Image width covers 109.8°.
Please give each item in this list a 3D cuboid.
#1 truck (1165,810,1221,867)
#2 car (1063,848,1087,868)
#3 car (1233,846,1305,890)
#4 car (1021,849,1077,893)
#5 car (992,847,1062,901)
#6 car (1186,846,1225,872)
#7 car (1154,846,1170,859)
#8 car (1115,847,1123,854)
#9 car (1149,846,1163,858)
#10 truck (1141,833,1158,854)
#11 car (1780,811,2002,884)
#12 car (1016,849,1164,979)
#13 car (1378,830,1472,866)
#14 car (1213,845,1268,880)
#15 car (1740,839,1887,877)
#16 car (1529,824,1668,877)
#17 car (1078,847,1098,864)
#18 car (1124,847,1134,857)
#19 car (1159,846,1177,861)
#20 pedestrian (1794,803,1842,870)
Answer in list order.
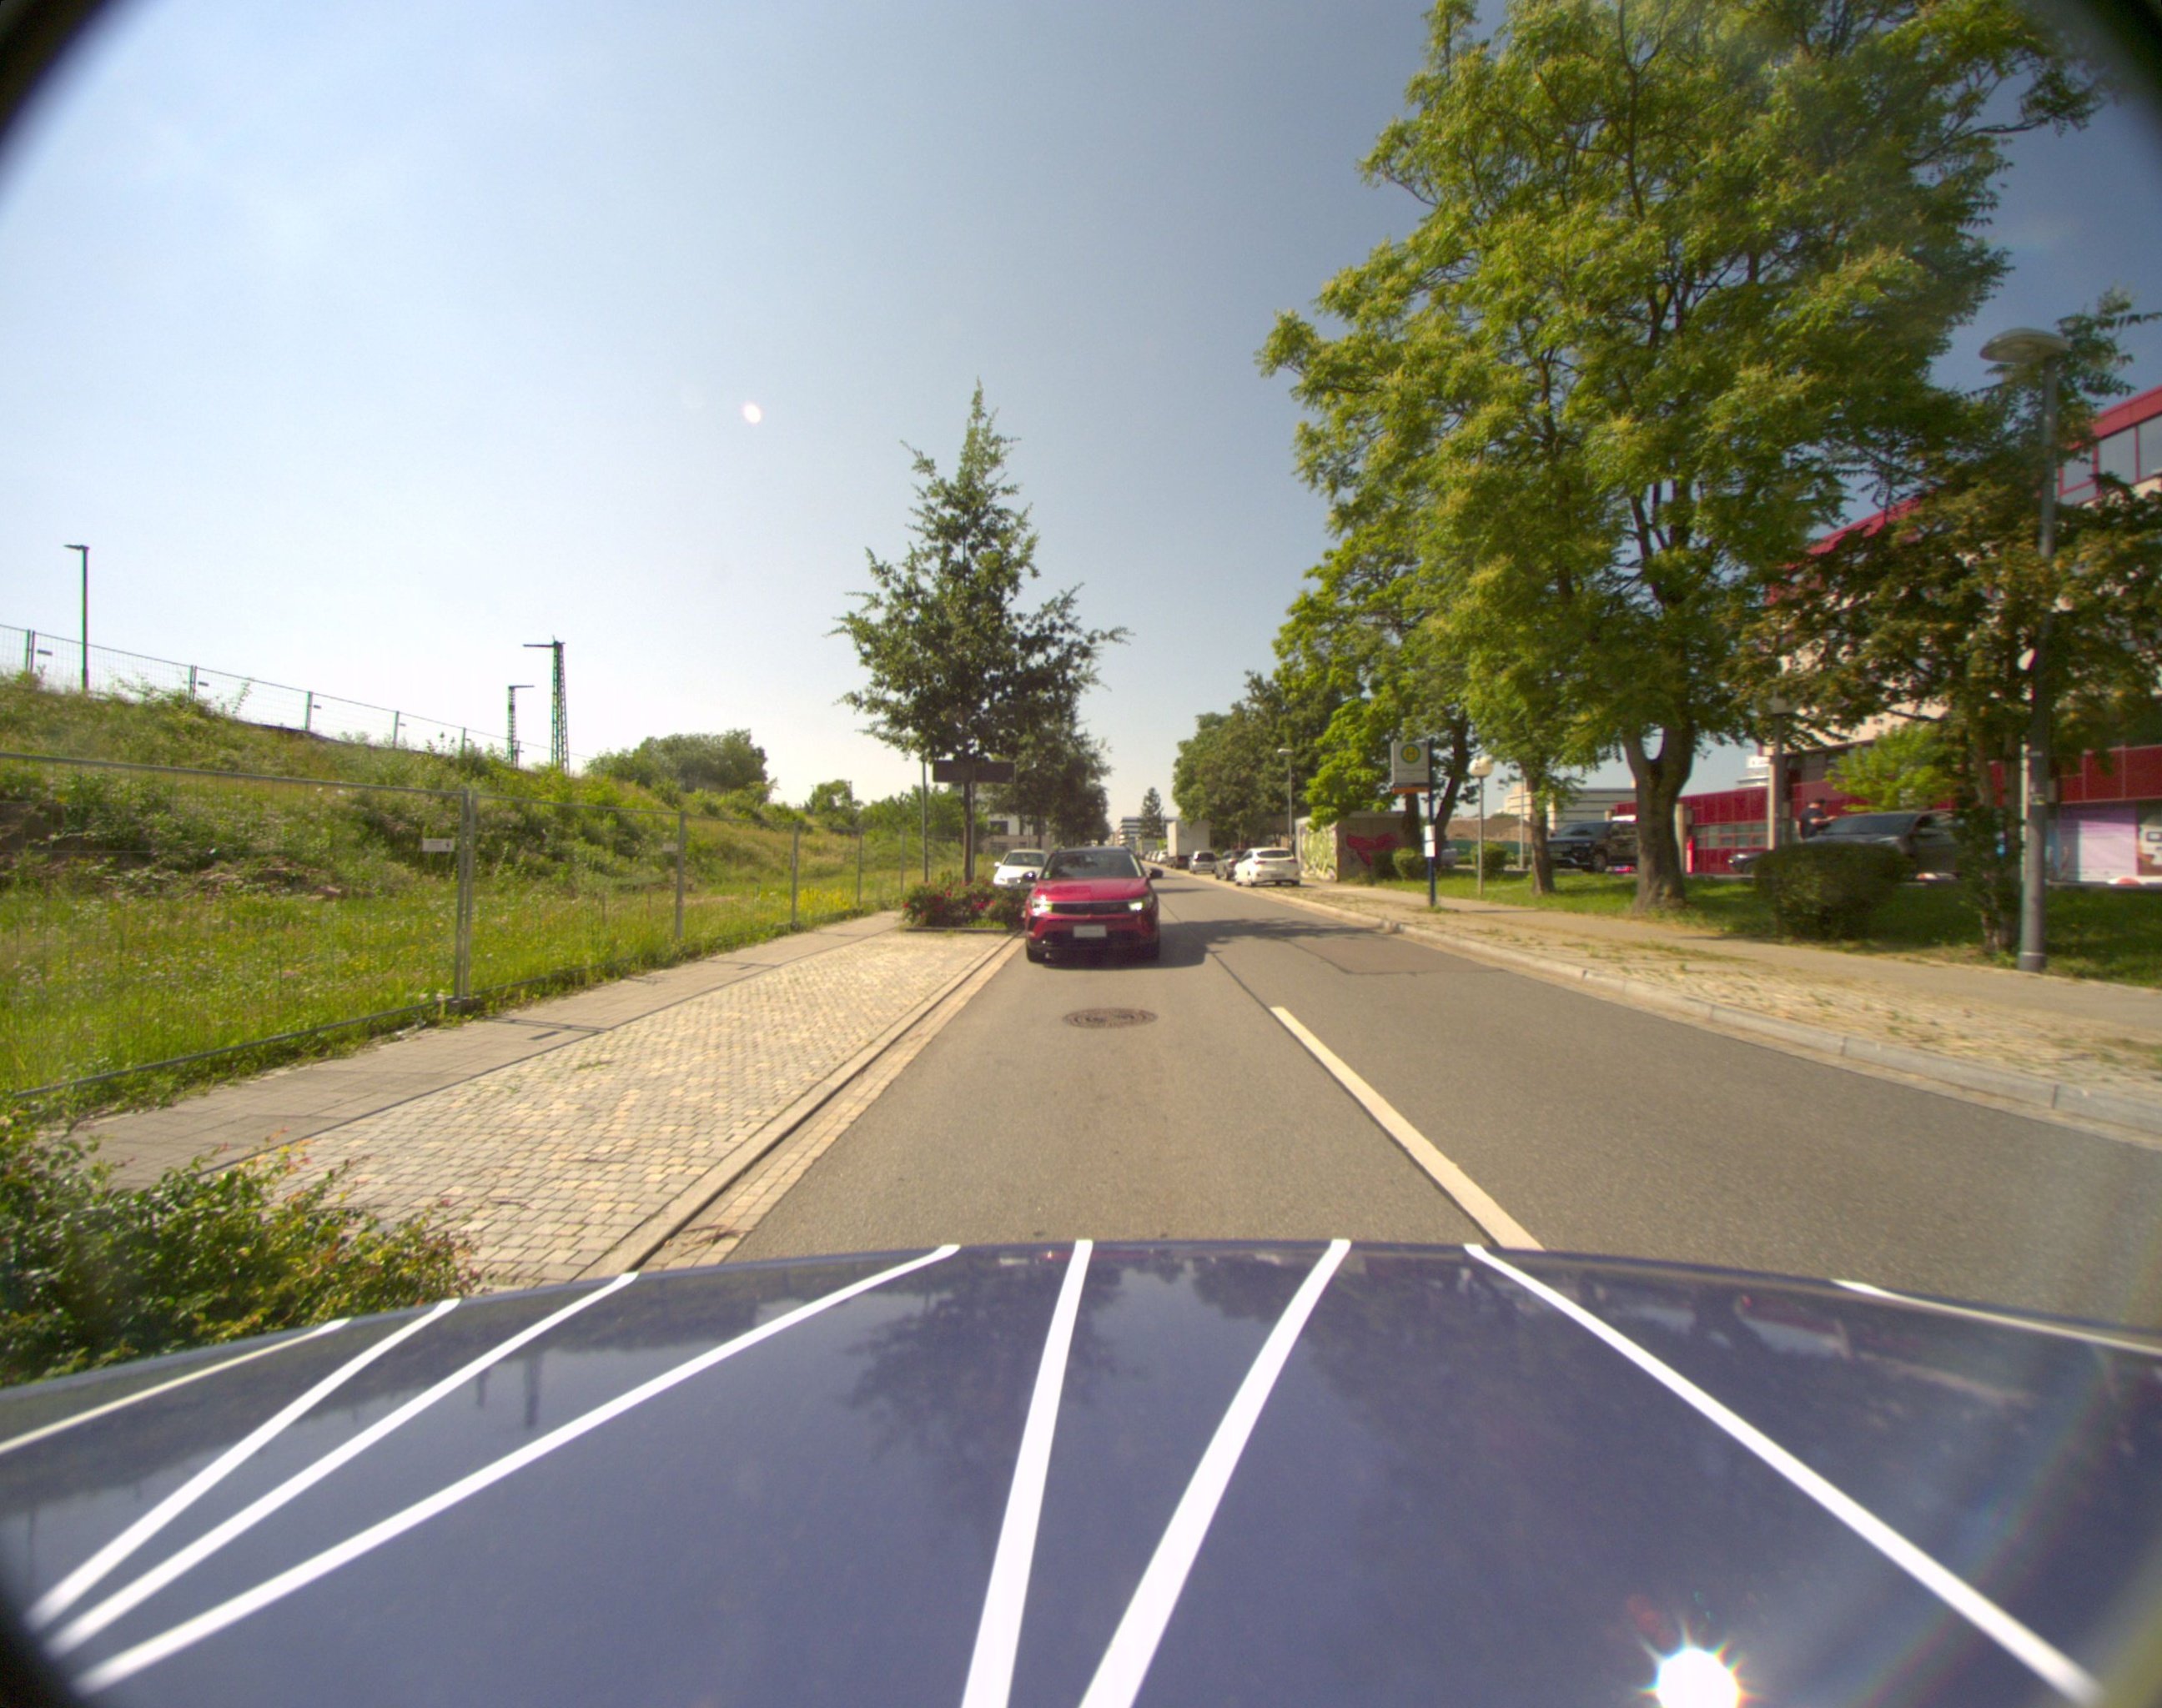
[{"bbox_3d":[8.788,-1.140,60.665,3.353,4.119,9.279,-2,0,3],"label":"truck"},{"bbox_3d":[-0.502,0.315,65.419,1.847,1.606,4.000,1,0,2],"label":"car"},{"bbox_3d":[7.022,0.479,28.803,1.765,1.484,4.000,-2,1,1],"label":"car"},{"bbox_3d":[-1.194,0.625,30.119,1.847,1.606,4.000,1,0,2],"label":"car"},{"bbox_3d":[-1.745,0.613,25.780,1.847,1.606,4.370,2,0,2],"label":"car"},{"bbox_3d":[7.767,0.306,47.862,1.814,1.506,4.000,-2,0,1],"label":"car"},{"bbox_3d":[10.272,-0.192,96.249,1.814,1.506,4.001,-2,0,3],"label":"car"},{"bbox_3d":[9.460,-0.865,187.083,1.764,1.783,4.001,-1,0,5],"label":"car"},{"bbox_3d":[10.743,-0.280,108.609,1.814,1.506,4.001,-2,0,3],"label":"car"},{"bbox_3d":[11.257,-1.740,124.381,2.701,3.300,7.345,-1,0,5],"label":"truck"},{"bbox_3d":[17.033,-0.162,16.001,3.993,1.330,1.715,-2,1,-19],"label":"car"},{"bbox_3d":[0.138,0.753,11.646,1.821,1.594,4.307,-1,0,1],"label":"car"},{"bbox_3d":[18.129,-0.328,39.990,4.723,1.793,1.996,-1,0,-28],"label":"car"},{"bbox_3d":[7.503,0.381,36.099,1.814,1.506,4.000,-2,0,1],"label":"car"},{"bbox_3d":[29.715,0.158,30.962,4.228,1.443,1.726,-1,1,45],"label":"car"},{"bbox_3d":[16.822,-0.140,24.618,4.823,1.484,1.848,-2,1,-31],"label":"car"},{"bbox_3d":[0.685,0.178,74.428,1.847,1.606,4.000,1,0,2],"label":"car"},{"bbox_3d":[8.719,-0.307,138.354,1.790,1.783,4.001,-1,0,3],"label":"car"},{"bbox_3d":[9.751,-0.064,85.209,1.814,1.506,4.001,-2,0,3],"label":"car"},{"bbox_3d":[17.034,-0.389,17.574,0.563,1.518,0.758,-1,1,24],"label":"pedestrian"}]
